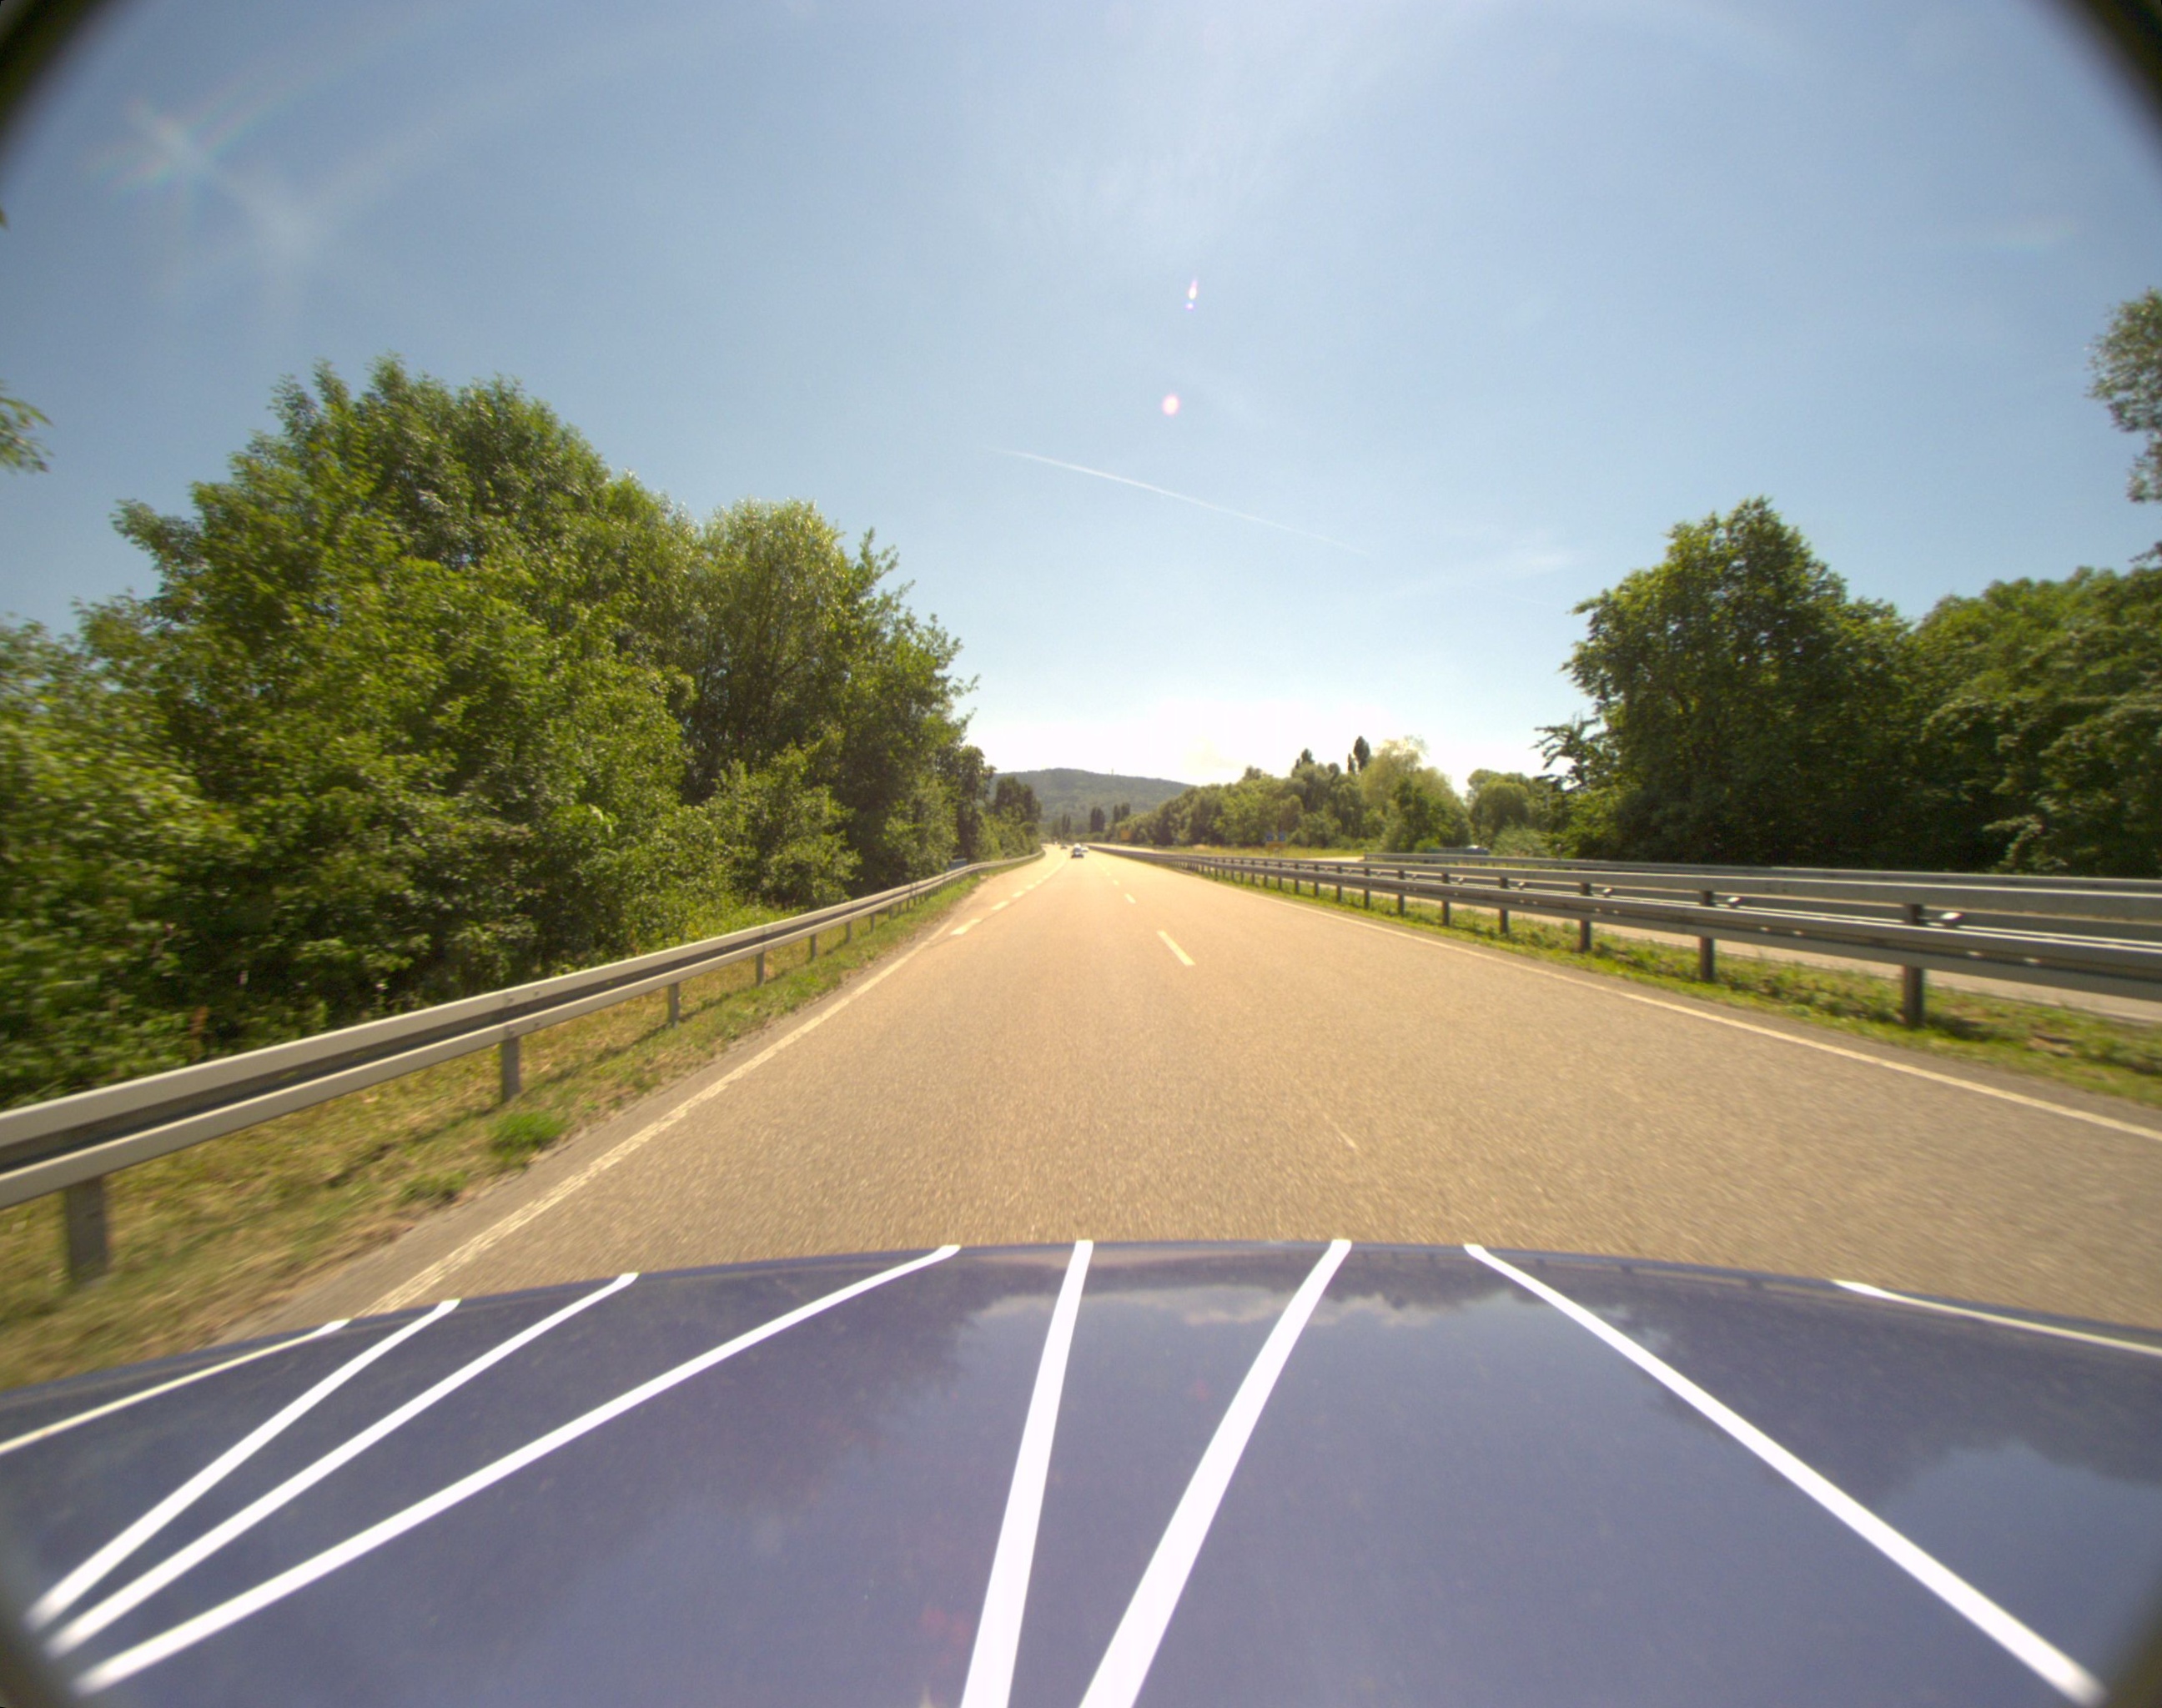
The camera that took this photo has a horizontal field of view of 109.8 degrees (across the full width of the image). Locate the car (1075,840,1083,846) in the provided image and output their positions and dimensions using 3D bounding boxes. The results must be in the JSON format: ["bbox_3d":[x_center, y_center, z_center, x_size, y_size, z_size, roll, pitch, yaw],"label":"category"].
[{"bbox_3d":[-0.538,-3.041,213.382,1.908,1.687,3.890,-2,1,3],"label":"car"}]

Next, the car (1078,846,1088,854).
[{"bbox_3d":[0.407,-0.815,170.369,1.908,1.687,3.890,-2,1,3],"label":"car"}]

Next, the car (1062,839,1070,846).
[{"bbox_3d":[-4.407,-3.329,219.658,1.908,1.687,3.890,-2,1,3],"label":"car"}]

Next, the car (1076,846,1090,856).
[{"bbox_3d":[0.297,-0.466,117.005,1.908,1.368,3.890,-2,1,3],"label":"car"}]
